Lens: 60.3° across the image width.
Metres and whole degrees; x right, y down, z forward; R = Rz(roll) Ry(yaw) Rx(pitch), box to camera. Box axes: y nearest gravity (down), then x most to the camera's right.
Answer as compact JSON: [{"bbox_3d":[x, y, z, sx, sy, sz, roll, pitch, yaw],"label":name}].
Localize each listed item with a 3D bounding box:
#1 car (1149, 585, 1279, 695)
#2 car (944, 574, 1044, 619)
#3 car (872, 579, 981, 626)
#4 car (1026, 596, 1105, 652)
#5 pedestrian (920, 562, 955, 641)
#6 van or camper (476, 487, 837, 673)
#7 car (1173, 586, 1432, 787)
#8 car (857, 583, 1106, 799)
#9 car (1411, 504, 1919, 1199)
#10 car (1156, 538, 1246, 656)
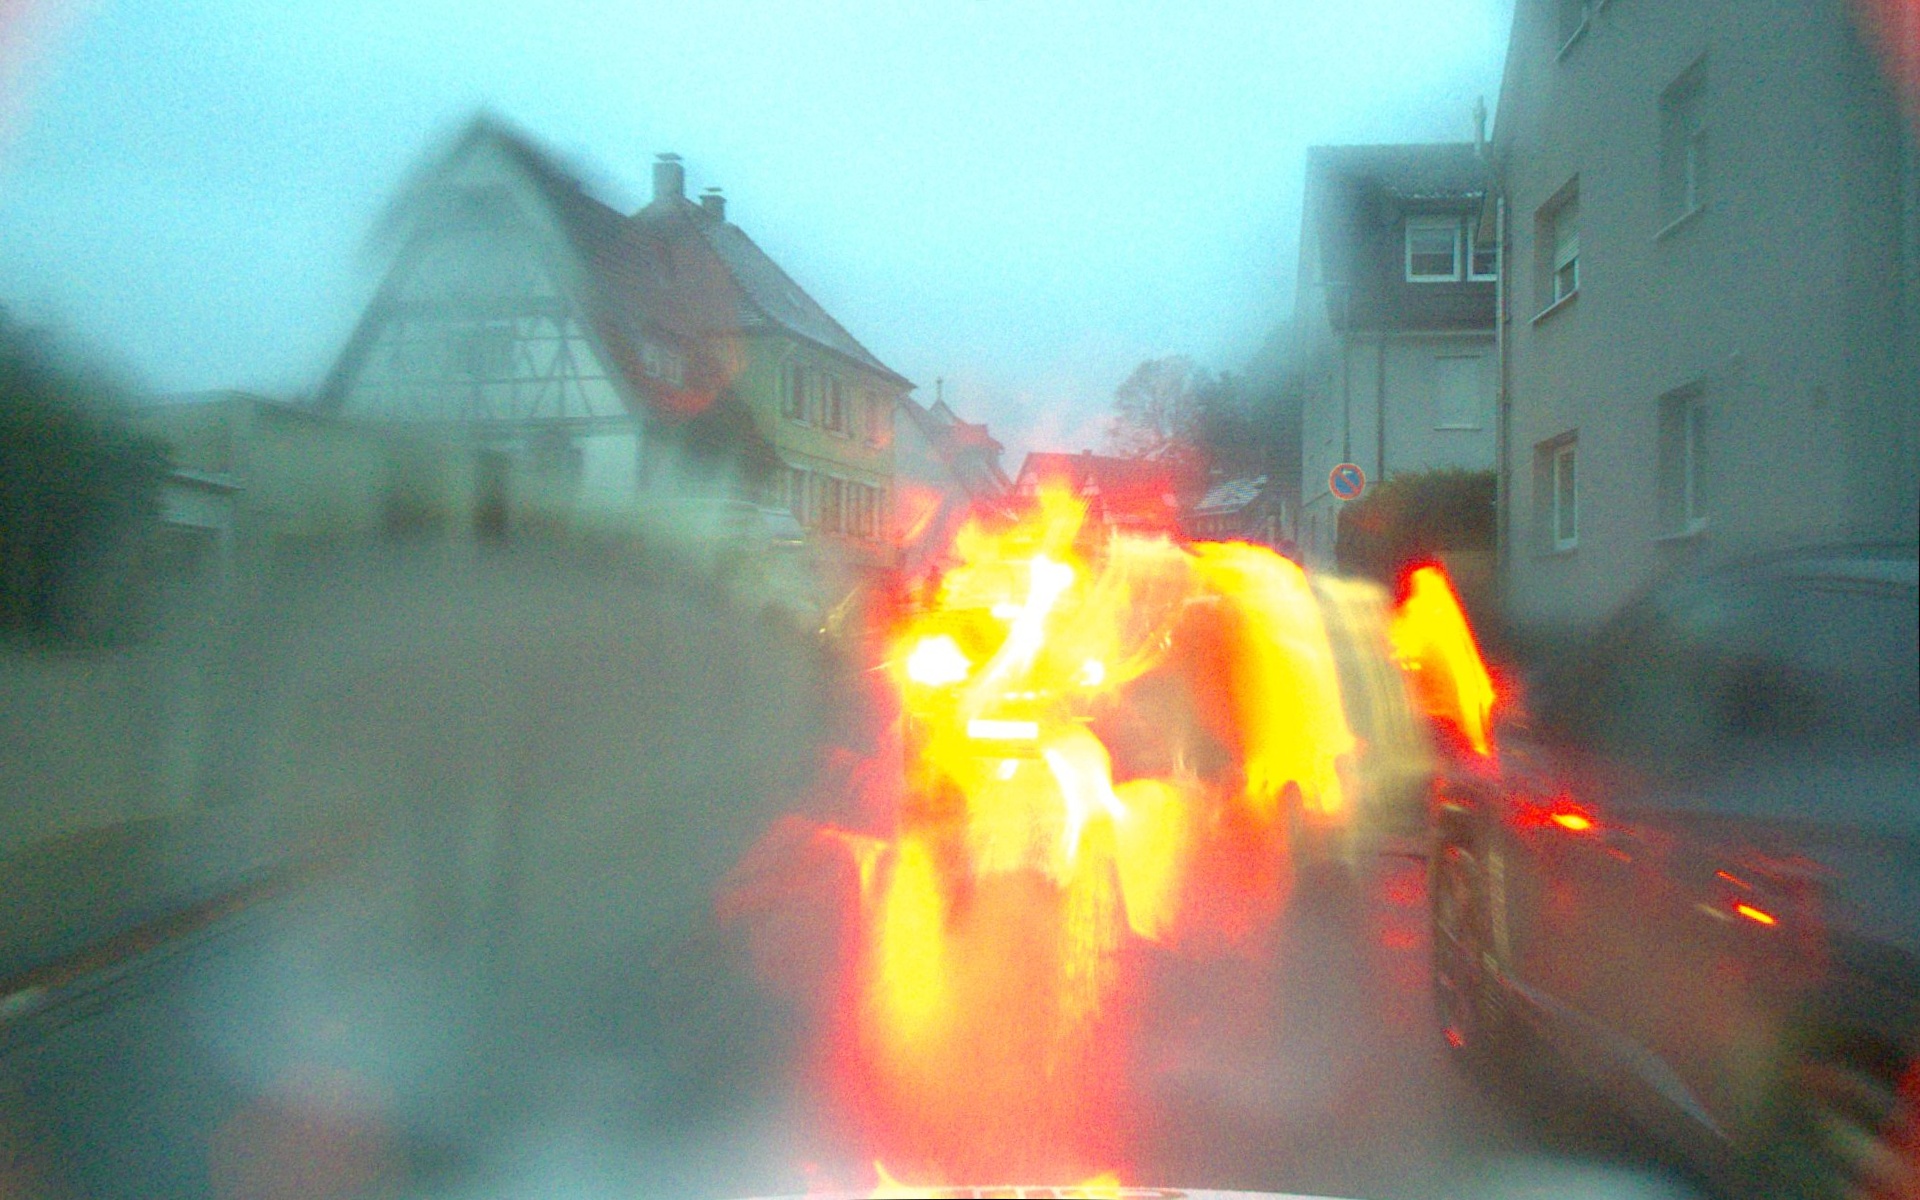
[{"bbox_3d":[3.819,0.549,25.345,1.688,1.534,3.754,0,1,5],"label":"car"},{"bbox_3d":[1.240,-0.124,59.212,3.433,1.533,1.693,1,0,5],"label":"car"},{"bbox_3d":[-1.128,0.087,56.859,3.432,1.533,1.694,1,0,11],"label":"car"},{"bbox_3d":[2.954,0.620,45.551,1.828,1.426,4.370,1,1,8],"label":"car"},{"bbox_3d":[-0.597,0.031,43.743,0.855,2.049,0.795,0,0,4],"label":"pedestrian"},{"bbox_3d":[-5.487,-0.334,30.300,5.931,3.006,2.408,-2,0,9],"label":"van or camper"},{"bbox_3d":[2.945,0.660,15.005,1.760,1.561,4.002,0,1,4],"label":"car"},{"bbox_3d":[0.291,0.641,13.939,1.758,1.502,4.002,2,1,4],"label":"car"},{"bbox_3d":[2.538,0.688,3.983,1.809,1.665,4.337,1,0,2],"label":"car"},{"bbox_3d":[5.228,-0.085,36.295,1.775,2.455,3.754,0,0,6],"label":"car"}]
